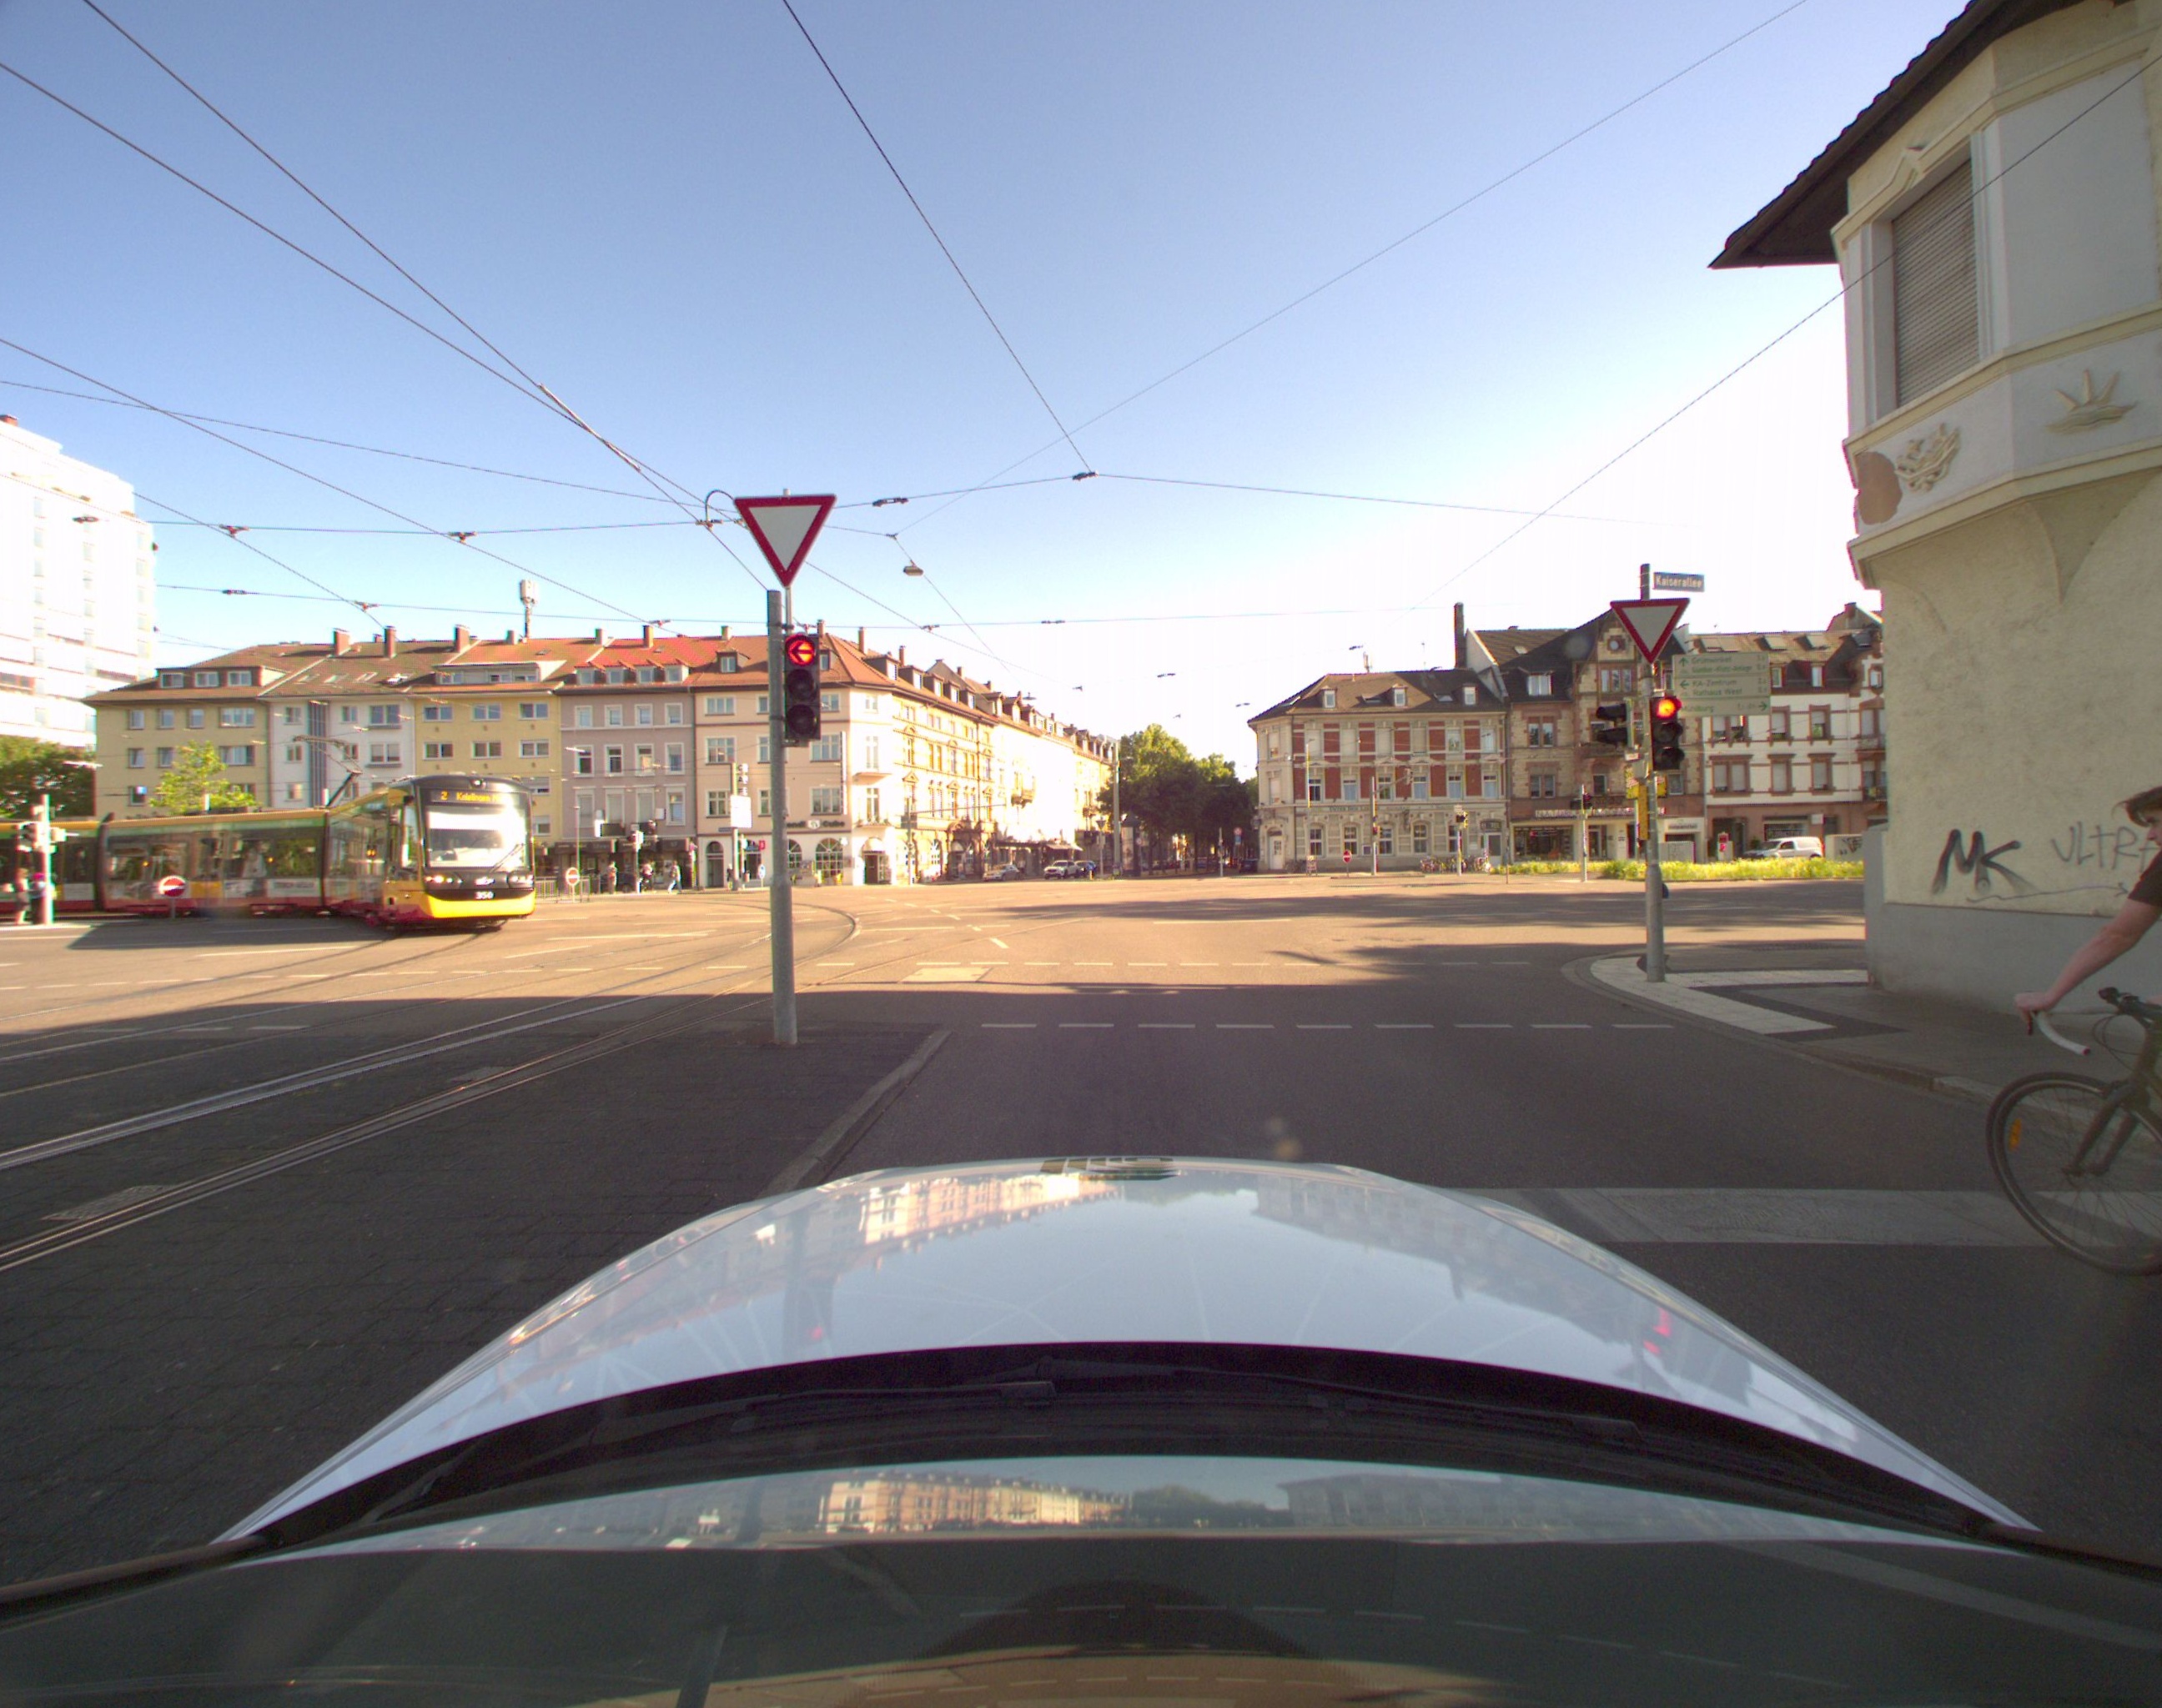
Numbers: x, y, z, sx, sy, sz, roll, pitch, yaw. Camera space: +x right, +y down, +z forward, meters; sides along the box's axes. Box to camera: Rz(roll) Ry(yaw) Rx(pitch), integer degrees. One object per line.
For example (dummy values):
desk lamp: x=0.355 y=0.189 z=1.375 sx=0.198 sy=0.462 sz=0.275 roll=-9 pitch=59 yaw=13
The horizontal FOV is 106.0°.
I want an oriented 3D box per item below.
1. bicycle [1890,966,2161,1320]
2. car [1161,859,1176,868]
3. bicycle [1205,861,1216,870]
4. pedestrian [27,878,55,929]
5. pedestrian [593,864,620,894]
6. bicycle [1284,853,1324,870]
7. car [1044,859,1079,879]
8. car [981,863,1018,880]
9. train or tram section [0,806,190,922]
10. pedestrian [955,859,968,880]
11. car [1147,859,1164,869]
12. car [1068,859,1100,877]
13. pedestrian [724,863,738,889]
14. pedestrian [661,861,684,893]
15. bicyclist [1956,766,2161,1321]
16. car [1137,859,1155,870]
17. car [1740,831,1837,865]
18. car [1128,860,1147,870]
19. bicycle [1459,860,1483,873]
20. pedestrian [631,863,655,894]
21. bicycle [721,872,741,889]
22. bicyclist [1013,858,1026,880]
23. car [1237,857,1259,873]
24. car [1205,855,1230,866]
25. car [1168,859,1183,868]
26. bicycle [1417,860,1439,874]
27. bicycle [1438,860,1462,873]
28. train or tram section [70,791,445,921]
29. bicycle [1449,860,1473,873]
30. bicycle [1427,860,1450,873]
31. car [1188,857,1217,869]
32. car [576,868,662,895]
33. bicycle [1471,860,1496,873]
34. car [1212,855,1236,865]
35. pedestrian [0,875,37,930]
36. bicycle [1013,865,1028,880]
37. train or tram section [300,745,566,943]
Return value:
bicycle: x=3.605 y=0.957 z=2.503 sx=0.516 sy=0.970 sz=1.750 roll=-1 pitch=0 yaw=2
car: x=14.041 y=1.506 z=130.602 sx=1.664 sy=1.354 sz=3.608 roll=-2 pitch=0 yaw=19
bicycle: x=15.776 y=1.394 z=99.273 sx=0.636 sy=1.021 sz=1.839 roll=0 pitch=-1 yaw=-12
pedestrian: x=-31.909 y=1.501 z=24.985 sx=0.456 sy=1.505 sz=0.485 roll=-1 pitch=1 yaw=38
pedestrian: x=-24.774 y=1.291 z=42.544 sx=0.842 sy=1.577 sz=0.836 roll=-1 pitch=-1 yaw=11
bicycle: x=15.609 y=0.501 z=57.053 sx=2.547 sy=1.174 sz=0.818 roll=0 pitch=-1 yaw=-1
car: x=-1.599 y=1.216 z=67.504 sx=1.664 sy=1.483 sz=3.789 roll=-2 pitch=0 yaw=19
car: x=-6.703 y=1.427 z=67.220 sx=1.664 sy=1.354 sz=3.608 roll=-2 pitch=0 yaw=19
train or tram section: x=-39.092 y=0.455 z=28.779 sx=12.037 sy=3.814 sz=2.942 roll=-1 pitch=0 yaw=1
pedestrian: x=-9.937 y=1.294 z=67.717 sx=0.770 sy=1.670 sz=0.834 roll=-1 pitch=-1 yaw=17
car: x=11.250 y=1.527 z=122.357 sx=1.664 sy=1.354 sz=3.608 roll=-2 pitch=0 yaw=19
car: x=0.313 y=1.244 z=73.763 sx=1.664 sy=1.483 sz=3.967 roll=-2 pitch=0 yaw=19
pedestrian: x=-22.765 y=1.400 z=53.029 sx=0.580 sy=1.670 sz=0.753 roll=0 pitch=-1 yaw=2
pedestrian: x=-20.204 y=1.130 z=40.313 sx=0.545 sy=1.577 sz=0.838 roll=-1 pitch=-1 yaw=29
bicyclist: x=3.580 y=0.576 z=2.494 sx=0.570 sy=1.701 sz=1.117 roll=-1 pitch=0 yaw=2
car: x=9.180 y=1.496 z=115.441 sx=1.664 sy=1.354 sz=3.608 roll=-2 pitch=0 yaw=19
car: x=45.448 y=-0.383 z=52.395 sx=4.406 sy=2.013 sz=2.002 roll=-1 pitch=0 yaw=4
car: x=7.705 y=1.493 z=111.317 sx=1.664 sy=1.354 sz=3.608 roll=-2 pitch=0 yaw=19
bicycle: x=25.210 y=0.804 z=52.696 sx=0.656 sy=0.840 sz=2.162 roll=0 pitch=-1 yaw=3
pedestrian: x=-22.696 y=1.266 z=42.209 sx=0.720 sy=1.577 sz=0.836 roll=-1 pitch=-1 yaw=11
bicycle: x=-22.764 y=1.693 z=53.009 sx=0.570 sy=1.077 sz=1.497 roll=0 pitch=-1 yaw=2
bicyclist: x=-4.935 y=1.211 z=65.408 sx=0.772 sy=1.803 sz=1.060 roll=-1 pitch=-1 yaw=16
car: x=16.910 y=1.099 z=82.328 sx=1.664 sy=1.483 sz=3.967 roll=-2 pitch=0 yaw=19
car: x=21.456 y=1.062 z=127.714 sx=3.549 sy=1.648 sz=1.691 roll=-2 pitch=0 yaw=19
car: x=15.728 y=1.525 z=135.595 sx=1.664 sy=1.354 sz=3.608 roll=-2 pitch=0 yaw=19
bicycle: x=22.431 y=0.825 z=52.690 sx=0.656 sy=0.840 sz=2.162 roll=0 pitch=-1 yaw=3
bicycle: x=23.890 y=0.815 z=52.734 sx=0.656 sy=0.840 sz=2.162 roll=0 pitch=-1 yaw=3
train or tram section: x=-27.495 y=0.187 z=27.117 sx=12.681 sy=3.814 sz=2.954 roll=-1 pitch=0 yaw=16
bicycle: x=24.574 y=0.809 z=52.741 sx=0.656 sy=0.840 sz=2.162 roll=0 pitch=-1 yaw=3
bicycle: x=23.166 y=0.820 z=52.749 sx=0.656 sy=0.840 sz=2.162 roll=0 pitch=-1 yaw=3
car: x=17.211 y=1.260 z=115.448 sx=3.870 sy=1.648 sz=1.691 roll=-2 pitch=0 yaw=19
car: x=-30.360 y=1.793 z=53.631 sx=4.347 sy=1.711 sz=2.308 roll=0 pitch=-1 yaw=4
bicycle: x=26.014 y=0.798 z=52.710 sx=0.656 sy=0.840 sz=2.162 roll=0 pitch=-1 yaw=3
car: x=23.362 y=0.969 z=133.148 sx=3.549 sy=1.648 sz=1.691 roll=-2 pitch=0 yaw=19
pedestrian: x=-32.915 y=1.501 z=25.234 sx=0.456 sy=1.644 sz=0.643 roll=-1 pitch=1 yaw=38
bicycle: x=-4.888 y=1.487 z=65.528 sx=0.696 sy=1.118 sz=1.642 roll=-1 pitch=-1 yaw=16
train or tram section: x=-17.211 y=-0.090 z=20.988 sx=12.886 sy=3.814 sz=2.960 roll=-2 pitch=0 yaw=41
